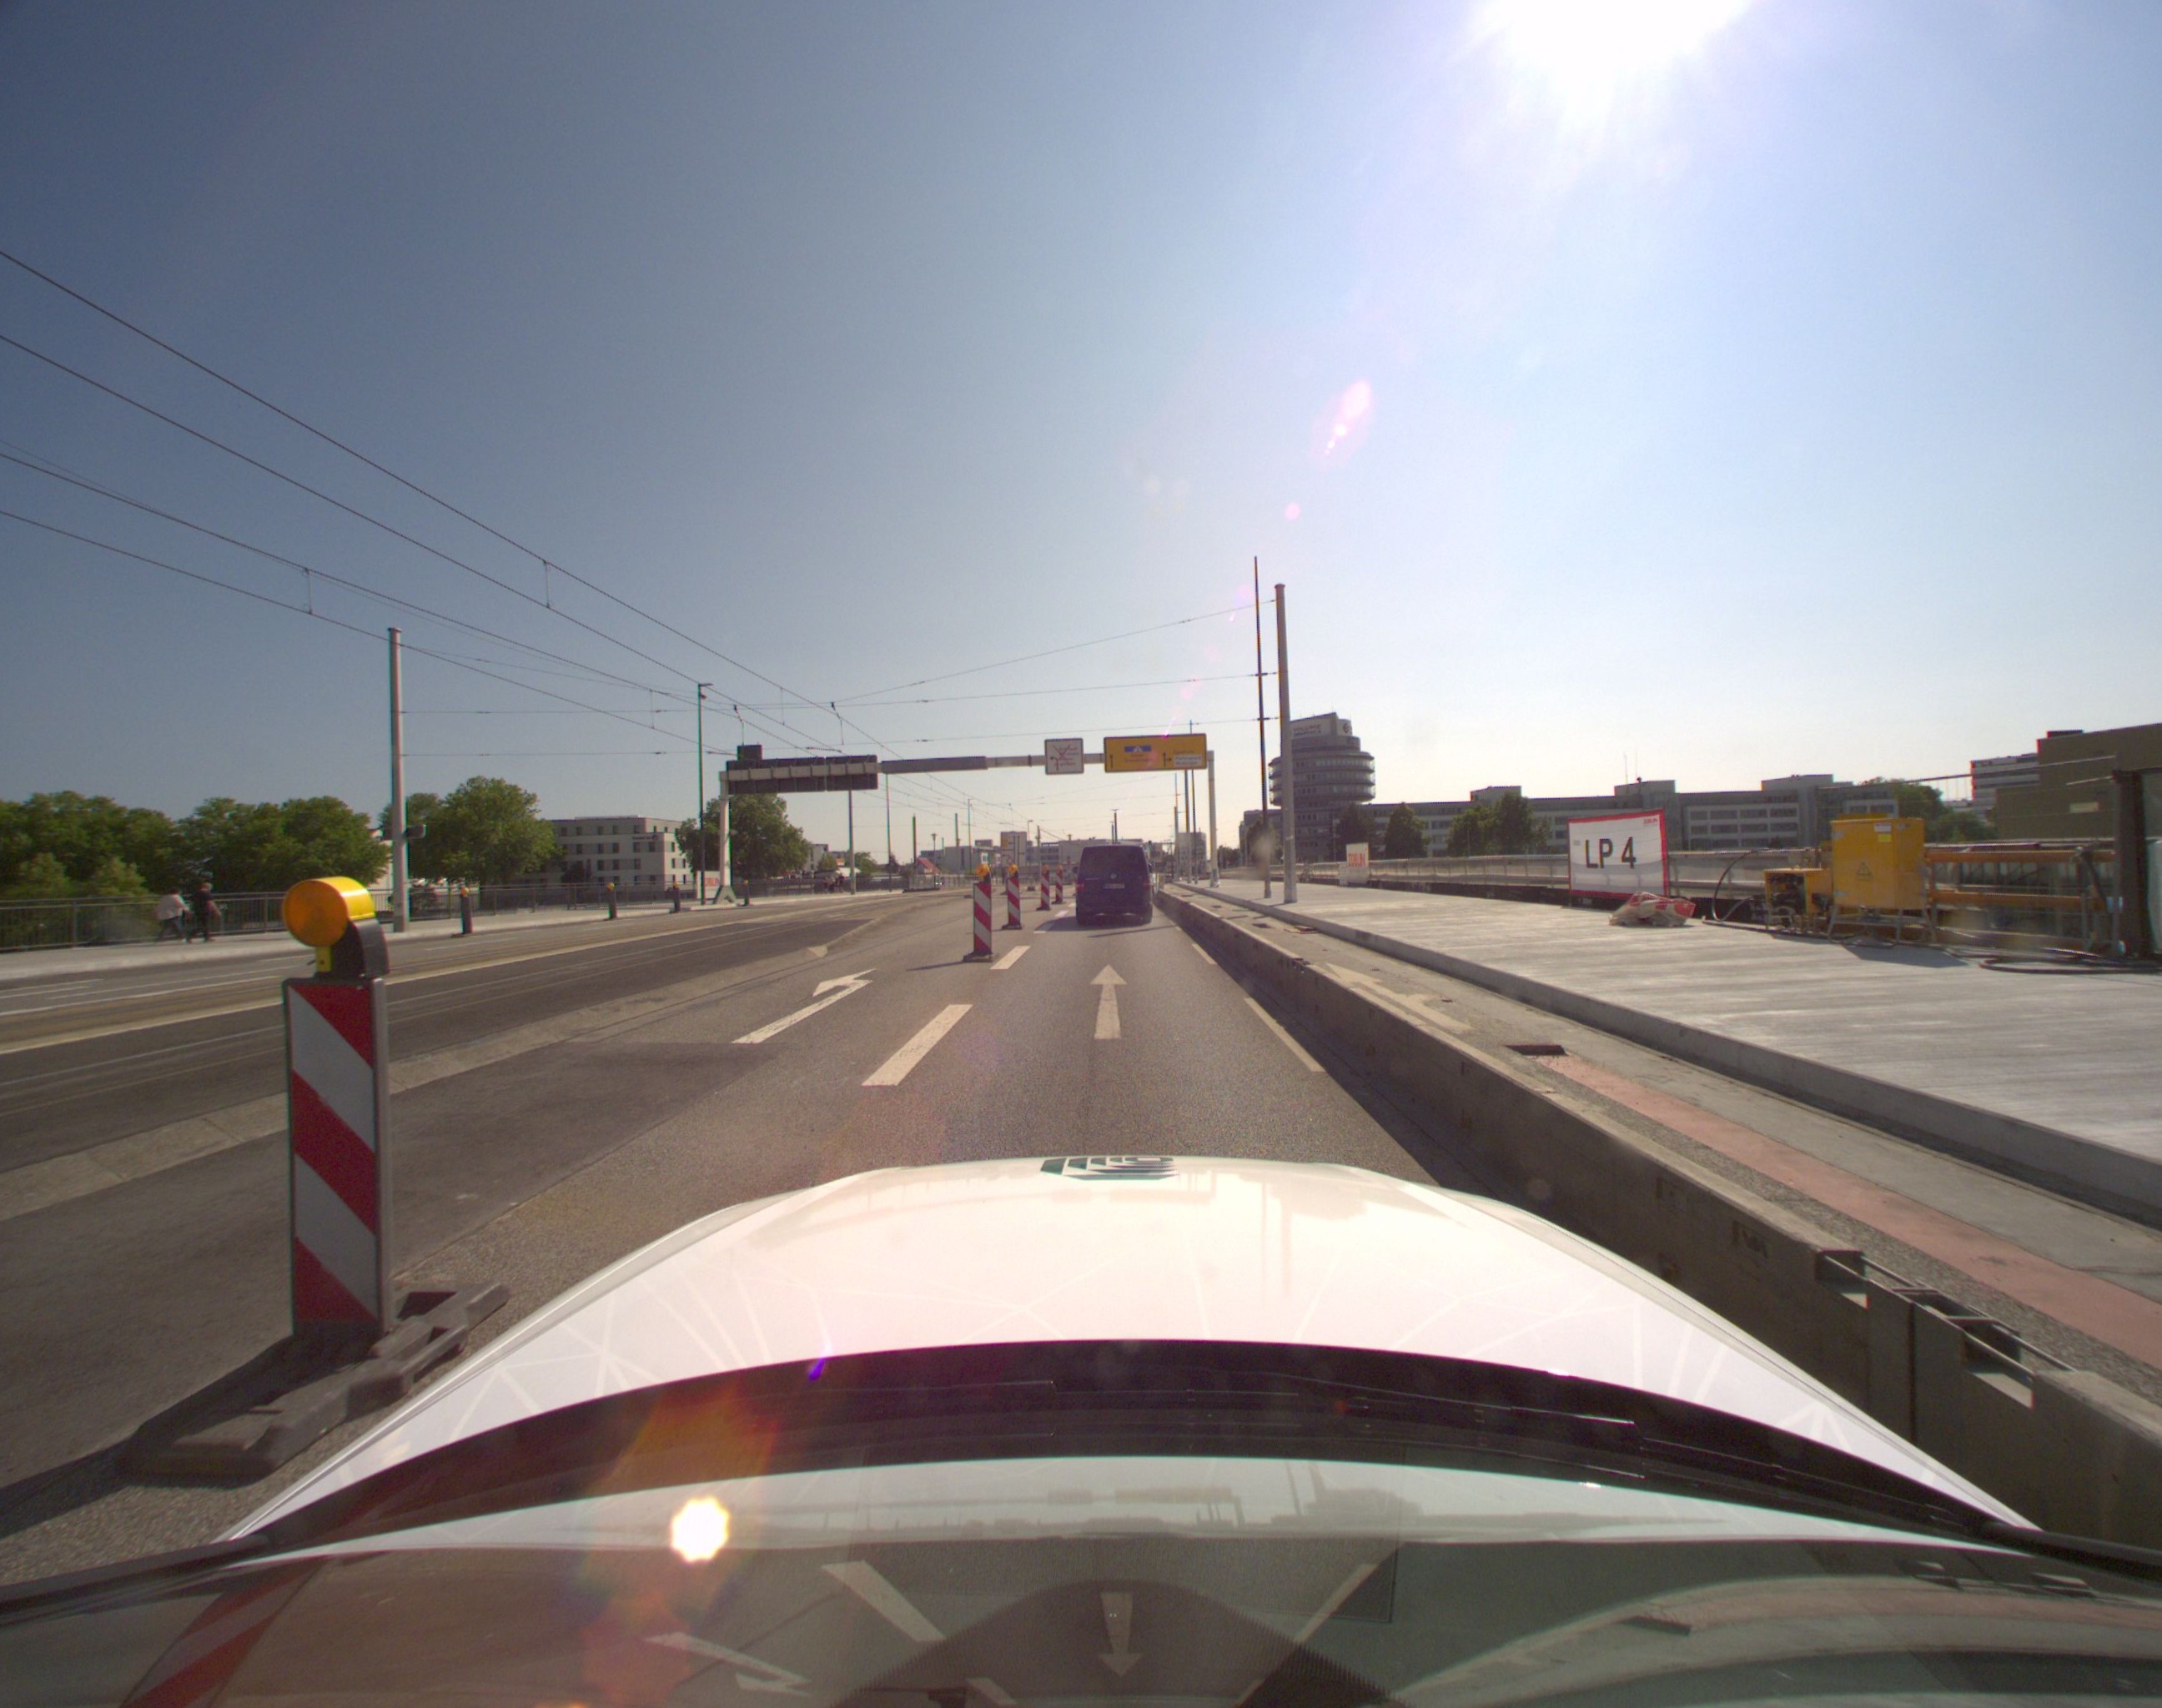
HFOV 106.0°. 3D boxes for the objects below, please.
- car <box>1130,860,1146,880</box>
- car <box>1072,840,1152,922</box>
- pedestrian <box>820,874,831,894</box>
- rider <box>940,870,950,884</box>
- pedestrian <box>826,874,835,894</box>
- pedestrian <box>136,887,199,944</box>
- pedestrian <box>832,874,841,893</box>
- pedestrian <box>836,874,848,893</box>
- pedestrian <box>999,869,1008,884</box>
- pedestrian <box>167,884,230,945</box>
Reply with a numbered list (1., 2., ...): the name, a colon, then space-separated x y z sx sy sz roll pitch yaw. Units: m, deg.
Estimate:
1. car: 8.720 2.453 124.376 2.327 2.887 5.978 -1 -1 5
2. car: 0.802 0.671 21.262 1.881 1.934 4.001 0 -1 2
3. pedestrian: -22.708 2.663 72.320 0.594 1.687 0.819 -2 -1 5
4. rider: -17.532 2.894 104.928 0.761 1.733 2.952 -1 -1 1
5. pedestrian: -22.127 2.628 72.002 0.483 1.687 0.809 -2 -1 5
6. pedestrian: -25.589 1.710 22.825 0.717 1.544 0.889 0 -1 2
7. pedestrian: -22.559 2.725 75.233 0.501 1.687 0.774 -2 -1 5
8. pedestrian: -21.838 2.679 74.425 0.749 1.687 0.733 -2 -1 5
9. pedestrian: -8.804 2.534 92.594 0.655 1.654 0.742 -2 -2 16
10. pedestrian: -24.691 1.672 22.807 0.741 1.642 0.895 0 -1 2
